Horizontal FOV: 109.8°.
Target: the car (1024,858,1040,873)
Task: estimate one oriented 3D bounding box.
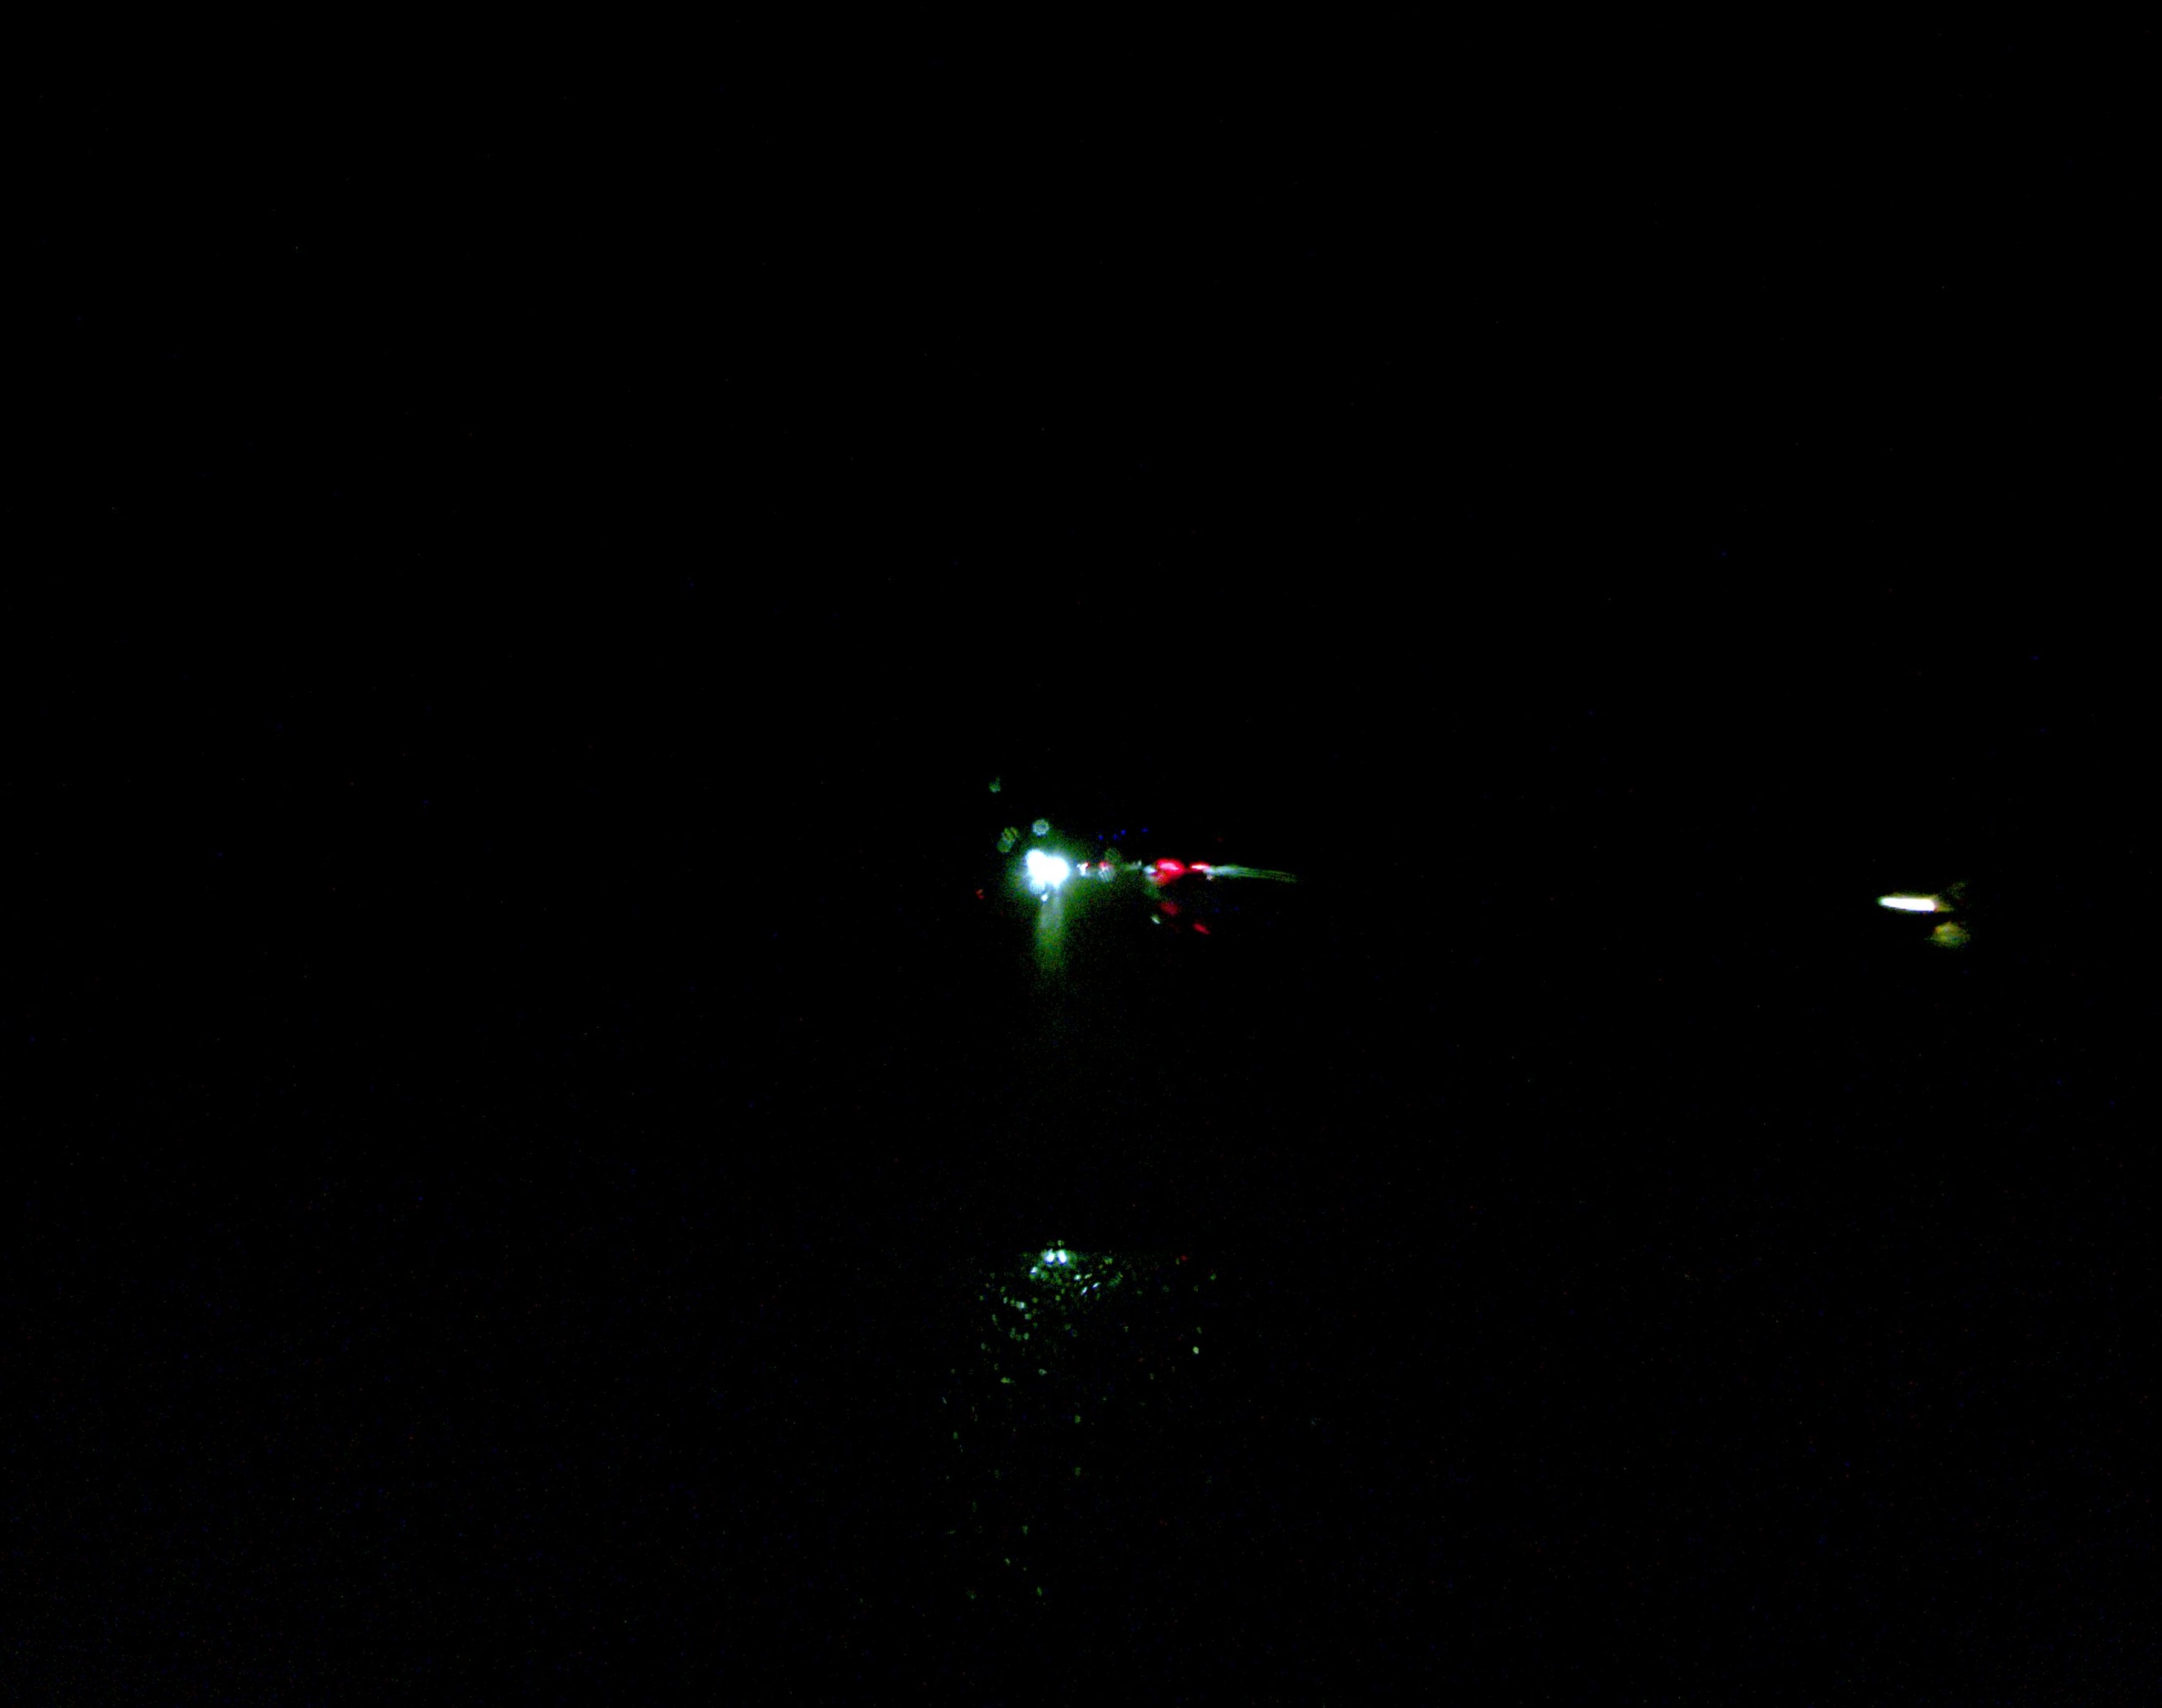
[{"bbox_3d":[-7.533,1.779,116.432,2.203,2.001,4.206,-4,-1,-5],"label":"car"}]

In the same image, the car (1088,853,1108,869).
[{"bbox_3d":[1.618,0.668,73.360,1.744,1.394,3.861,-4,0,0],"label":"car"}]

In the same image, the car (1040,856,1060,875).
[{"bbox_3d":[-3.697,1.325,90.917,1.999,2.002,3.996,-4,2,-6],"label":"car"}]

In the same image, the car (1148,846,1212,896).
[{"bbox_3d":[3.672,0.594,28.871,1.785,1.657,4.472,-3,0,0],"label":"car"}]
